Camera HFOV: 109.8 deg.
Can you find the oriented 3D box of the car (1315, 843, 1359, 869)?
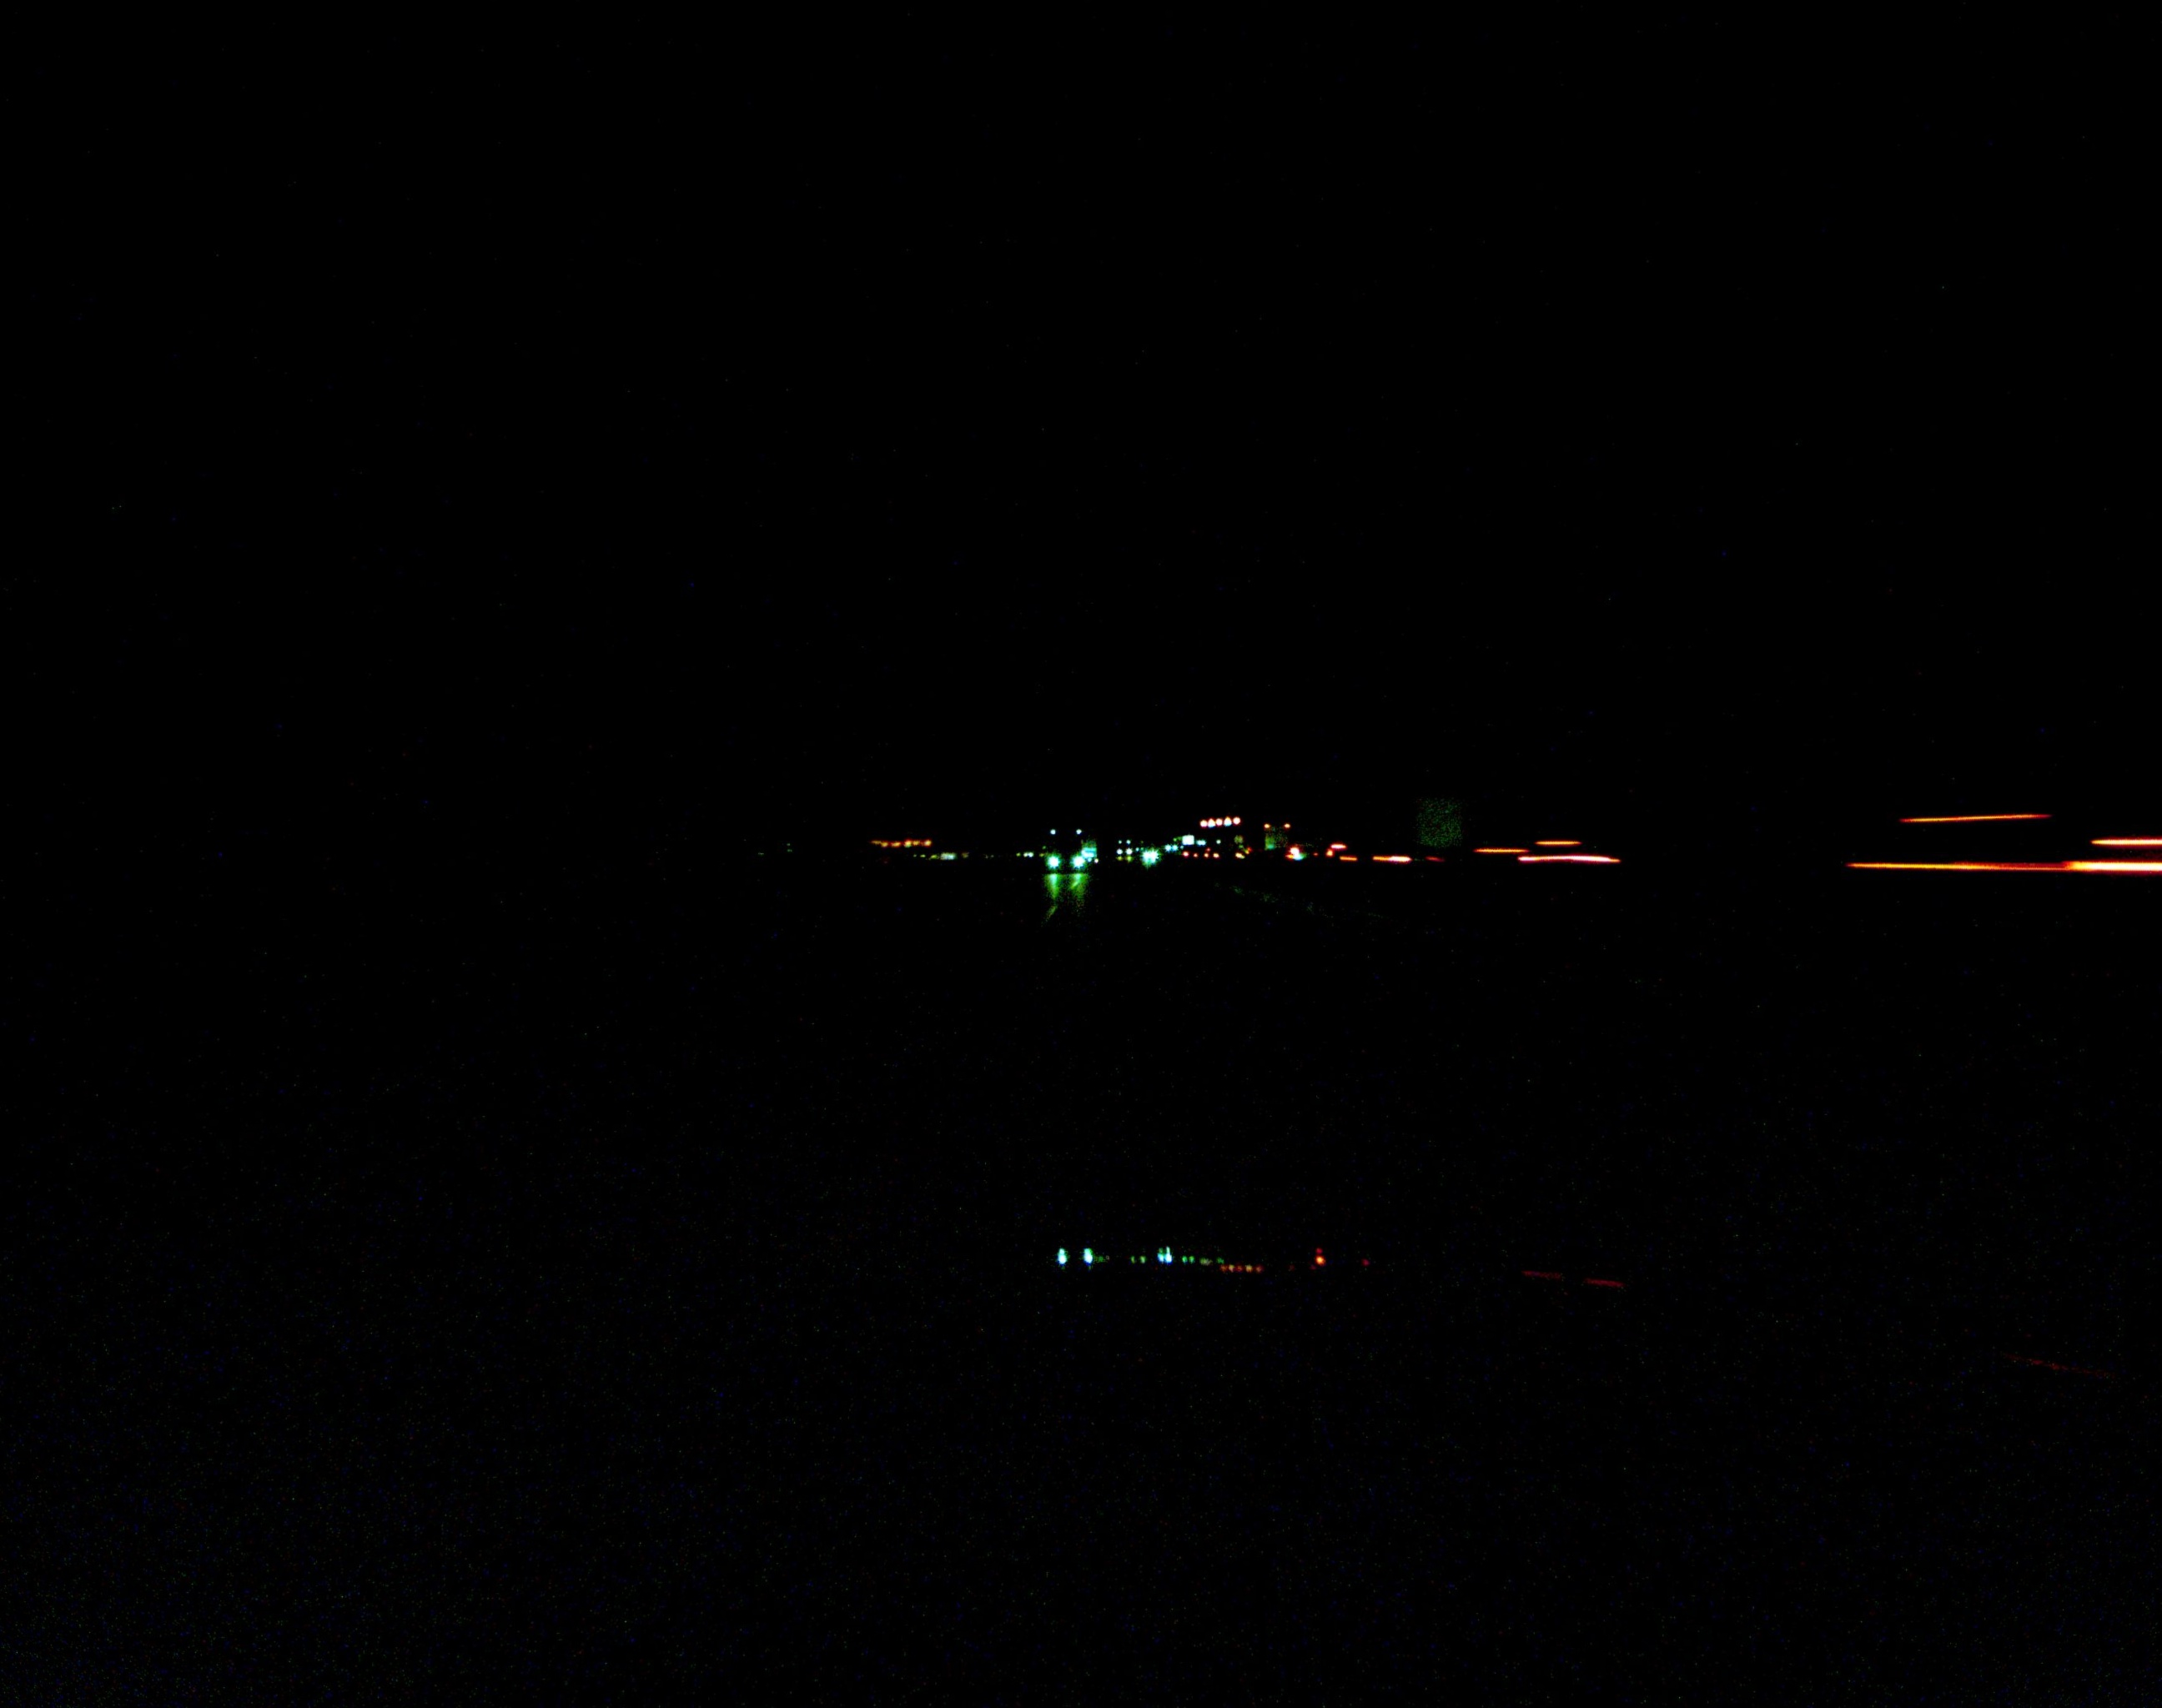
[{"bbox_3d":[18.678,0.105,55.592,1.998,1.800,4.320,-1,1,5],"label":"car"}]

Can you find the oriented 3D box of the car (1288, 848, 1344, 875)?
[{"bbox_3d":[13.675,0.404,44.547,1.952,1.435,4.650,-1,1,2],"label":"car"}]

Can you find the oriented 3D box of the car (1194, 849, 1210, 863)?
[{"bbox_3d":[14.040,0.176,88.016,1.629,1.483,4.869,-2,1,7],"label":"car"}]

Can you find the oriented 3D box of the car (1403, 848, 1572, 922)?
[{"bbox_3d":[9.087,0.607,17.469,1.706,1.418,4.513,-1,0,4],"label":"car"}]

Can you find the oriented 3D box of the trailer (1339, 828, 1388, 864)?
[{"bbox_3d":[22.682,-0.618,61.189,2.368,2.728,4.993,-1,1,4],"label":"trailer"}]

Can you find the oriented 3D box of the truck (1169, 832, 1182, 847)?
[{"bbox_3d":[26.672,-4.057,214.575,2.896,3.950,4.004,-2,2,18],"label":"truck"}]

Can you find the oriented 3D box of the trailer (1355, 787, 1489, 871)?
[{"bbox_3d":[17.453,-1.163,39.729,2.828,3.894,8.737,-1,0,-2],"label":"trailer"}]

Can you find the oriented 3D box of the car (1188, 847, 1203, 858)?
[{"bbox_3d":[17.079,-0.263,113.232,1.907,1.483,4.871,-1,1,11],"label":"car"}]

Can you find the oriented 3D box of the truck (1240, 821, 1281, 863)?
[{"bbox_3d":[21.866,-1.478,92.779,2.623,4.242,5.959,-24,-1,5],"label":"truck"}]

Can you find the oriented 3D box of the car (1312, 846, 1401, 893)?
[{"bbox_3d":[9.908,0.500,27.724,1.838,1.544,4.513,-1,1,4],"label":"car"}]

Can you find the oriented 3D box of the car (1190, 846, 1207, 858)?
[{"bbox_3d":[15.468,-0.259,100.132,1.907,1.483,4.869,-1,1,7],"label":"car"}]

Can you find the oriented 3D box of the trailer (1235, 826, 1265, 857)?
[{"bbox_3d":[24.444,-1.722,110.492,2.881,4.160,14.530,-1,0,7],"label":"trailer"}]

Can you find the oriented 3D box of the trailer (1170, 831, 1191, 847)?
[{"bbox_3d":[29.246,-4.415,222.167,2.836,3.953,15.778,-2,2,19],"label":"trailer"}]

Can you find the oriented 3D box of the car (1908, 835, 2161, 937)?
[{"bbox_3d":[16.620,0.446,12.761,1.373,1.397,3.649,-6,1,0],"label":"car"}]

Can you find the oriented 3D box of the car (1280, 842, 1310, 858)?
[{"bbox_3d":[21.448,-0.401,76.332,1.908,1.483,4.868,-1,0,4],"label":"car"}]

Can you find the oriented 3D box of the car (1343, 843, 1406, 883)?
[{"bbox_3d":[12.590,0.348,32.850,1.218,1.587,4.513,-1,1,3],"label":"car"}]

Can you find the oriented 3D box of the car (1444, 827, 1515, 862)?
[{"bbox_3d":[21.726,-0.554,41.585,1.724,1.710,3.837,-5,2,0],"label":"car"}]

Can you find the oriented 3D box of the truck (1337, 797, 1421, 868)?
[{"bbox_3d":[17.331,-1.172,44.541,2.835,3.893,4.934,-1,0,-2],"label":"truck"}]

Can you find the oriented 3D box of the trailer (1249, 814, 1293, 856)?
[{"bbox_3d":[21.714,-2.139,87.727,2.845,4.439,14.527,0,1,6],"label":"trailer"}]

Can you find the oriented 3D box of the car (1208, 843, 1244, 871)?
[{"bbox_3d":[10.457,0.221,55.268,1.880,1.911,5.605,-2,0,4],"label":"car"}]

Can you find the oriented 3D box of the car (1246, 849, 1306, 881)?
[{"bbox_3d":[9.715,0.506,38.191,1.917,1.435,4.650,-1,1,2],"label":"car"}]

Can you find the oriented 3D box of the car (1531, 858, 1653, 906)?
[{"bbox_3d":[17.929,0.922,26.917,1.545,1.481,4.513,-1,1,4],"label":"car"}]

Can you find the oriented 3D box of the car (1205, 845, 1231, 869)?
[{"bbox_3d":[11.469,0.229,64.031,1.879,1.912,4.869,-1,1,7],"label":"car"}]

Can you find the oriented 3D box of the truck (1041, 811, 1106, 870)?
[{"bbox_3d":[-0.239,-1.333,64.784,3.490,4.112,18.709,-3,2,5],"label":"truck"}]

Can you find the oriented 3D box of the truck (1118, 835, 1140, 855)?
[{"bbox_3d":[10.496,-2.026,166.189,2.871,3.819,8.058,-5,2,15],"label":"truck"}]

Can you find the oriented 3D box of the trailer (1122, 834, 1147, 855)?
[{"bbox_3d":[12.046,-2.263,171.214,2.878,3.910,12.894,-3,3,16],"label":"trailer"}]

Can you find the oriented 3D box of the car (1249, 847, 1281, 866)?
[{"bbox_3d":[15.809,0.195,65.665,1.908,1.483,4.868,-2,1,4],"label":"car"}]

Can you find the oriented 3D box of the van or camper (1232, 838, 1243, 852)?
[{"bbox_3d":[34.918,-1.952,169.383,2.225,2.986,7.130,-1,1,13],"label":"van or camper"}]

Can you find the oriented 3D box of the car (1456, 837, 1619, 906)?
[{"bbox_3d":[13.393,0.438,22.705,1.998,1.800,4.748,-1,1,0],"label":"car"}]

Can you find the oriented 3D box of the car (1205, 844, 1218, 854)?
[{"bbox_3d":[21.661,-0.830,125.916,1.907,1.483,4.940,-1,1,11],"label":"car"}]

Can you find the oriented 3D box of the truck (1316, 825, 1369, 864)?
[{"bbox_3d":[23.134,-0.810,67.605,2.499,3.200,7.915,-1,0,4],"label":"truck"}]

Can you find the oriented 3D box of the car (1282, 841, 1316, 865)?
[{"bbox_3d":[19.035,-0.154,66.509,1.908,1.876,5.021,-2,1,5],"label":"car"}]

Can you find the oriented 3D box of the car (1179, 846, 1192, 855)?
[{"bbox_3d":[17.407,-0.604,126.443,1.907,1.483,4.870,-1,1,10],"label":"car"}]

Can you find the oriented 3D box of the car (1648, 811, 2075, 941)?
[{"bbox_3d":[13.096,0.289,13.502,1.998,1.800,5.486,-1,1,1],"label":"car"}]
